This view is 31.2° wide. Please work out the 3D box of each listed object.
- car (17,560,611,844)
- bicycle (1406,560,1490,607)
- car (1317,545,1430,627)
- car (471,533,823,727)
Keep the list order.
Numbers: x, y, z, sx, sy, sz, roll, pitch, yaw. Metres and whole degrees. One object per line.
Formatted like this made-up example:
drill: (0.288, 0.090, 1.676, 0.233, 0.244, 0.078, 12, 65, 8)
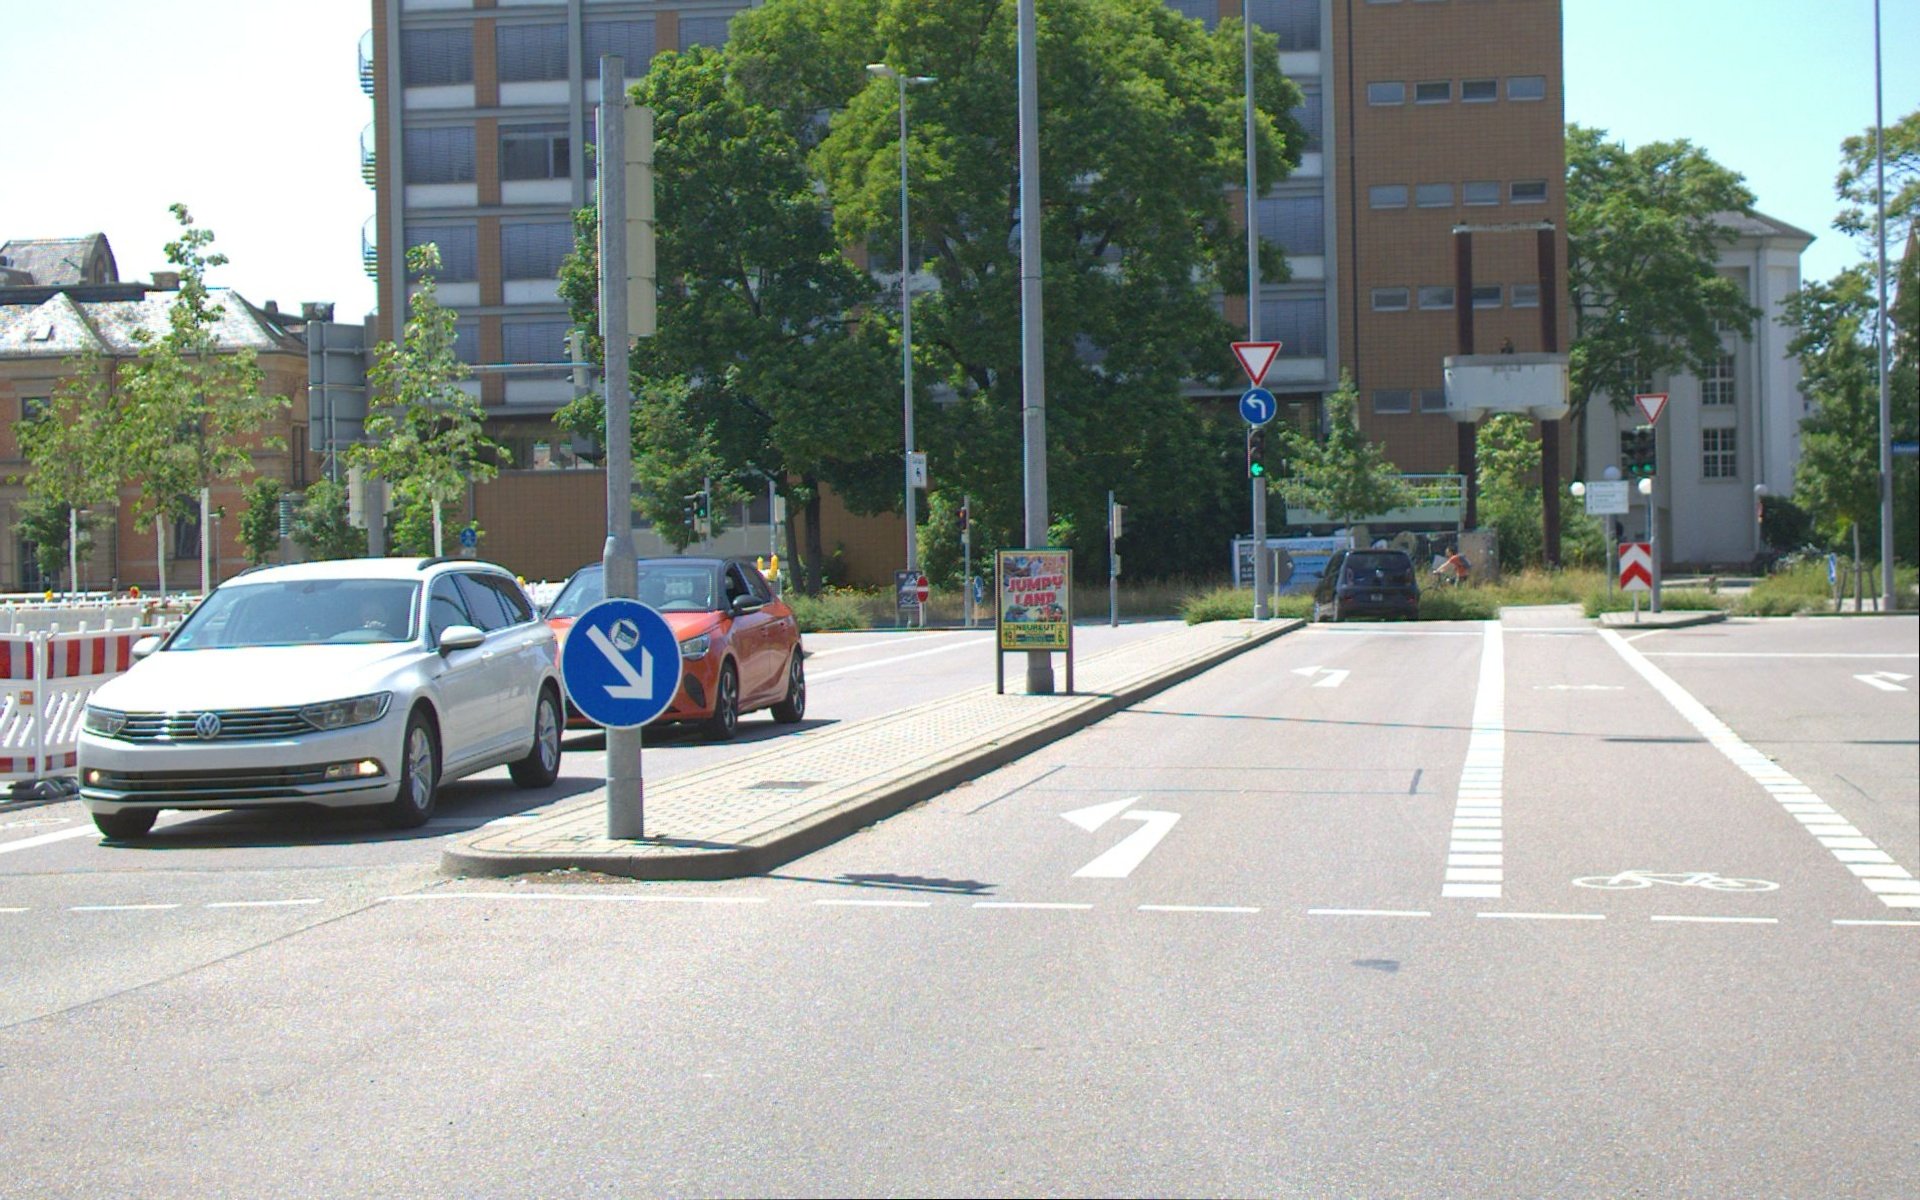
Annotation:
car: (-3.588, 0.519, 20.109, 1.994, 1.433, 4.704, -1, 0, 8)
bicycle: (12.398, -0.414, 87.369, 2.009, 1.131, 0.573, -1, 0, 21)
car: (7.996, -0.291, 66.767, 1.688, 1.521, 3.690, -1, 1, -1)
car: (-2.438, 0.215, 27.831, 1.732, 1.420, 4.122, -1, 0, 11)
